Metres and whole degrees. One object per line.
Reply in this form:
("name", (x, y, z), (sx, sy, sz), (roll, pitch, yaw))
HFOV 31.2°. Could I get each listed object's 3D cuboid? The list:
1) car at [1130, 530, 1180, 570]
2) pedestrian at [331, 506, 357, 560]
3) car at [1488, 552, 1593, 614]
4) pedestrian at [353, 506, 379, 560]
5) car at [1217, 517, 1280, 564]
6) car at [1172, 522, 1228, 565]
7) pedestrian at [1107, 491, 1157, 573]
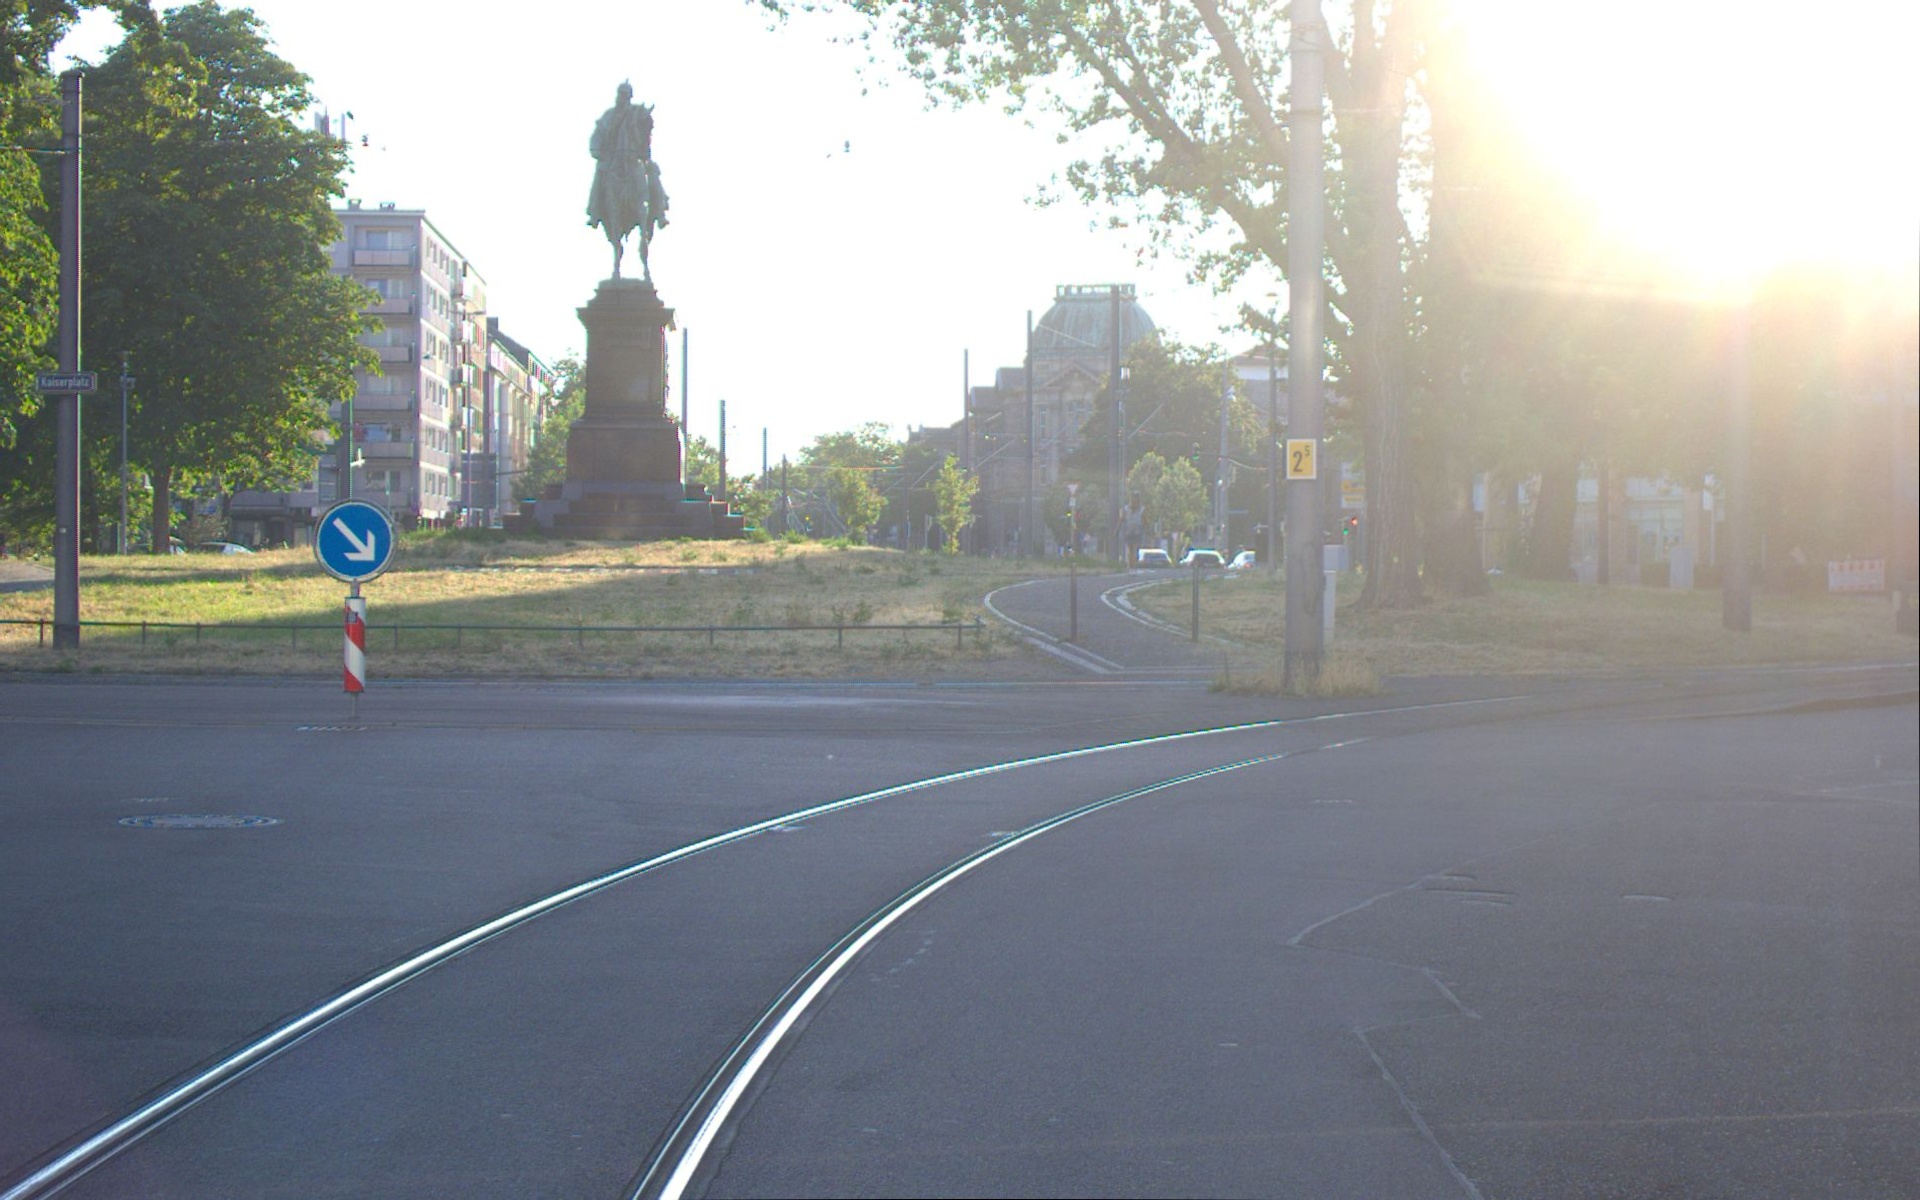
("car", (10.090, -2.596, 178.155), (2.138, 2.007, 4.001), (1, 1, -4))
("pedestrian", (-18.431, -2.016, 102.918), (0.769, 1.600, 0.638), (0, 1, -10))
("car", (19.130, -0.593, 113.472), (1.993, 1.963, 4.001), (0, 1, -13))
("pedestrian", (-17.667, -1.998, 102.251), (0.769, 1.600, 0.638), (0, 1, -10))
("car", (12.661, -2.617, 150.974), (2.138, 2.007, 4.001), (1, 1, -4))
("car", (11.530, -2.710, 165.249), (2.138, 2.007, 4.001), (1, 1, -4))
("pedestrian", (3.399, -1.352, 67.943), (0.638, 1.600, 0.769), (1, 2, 44))
